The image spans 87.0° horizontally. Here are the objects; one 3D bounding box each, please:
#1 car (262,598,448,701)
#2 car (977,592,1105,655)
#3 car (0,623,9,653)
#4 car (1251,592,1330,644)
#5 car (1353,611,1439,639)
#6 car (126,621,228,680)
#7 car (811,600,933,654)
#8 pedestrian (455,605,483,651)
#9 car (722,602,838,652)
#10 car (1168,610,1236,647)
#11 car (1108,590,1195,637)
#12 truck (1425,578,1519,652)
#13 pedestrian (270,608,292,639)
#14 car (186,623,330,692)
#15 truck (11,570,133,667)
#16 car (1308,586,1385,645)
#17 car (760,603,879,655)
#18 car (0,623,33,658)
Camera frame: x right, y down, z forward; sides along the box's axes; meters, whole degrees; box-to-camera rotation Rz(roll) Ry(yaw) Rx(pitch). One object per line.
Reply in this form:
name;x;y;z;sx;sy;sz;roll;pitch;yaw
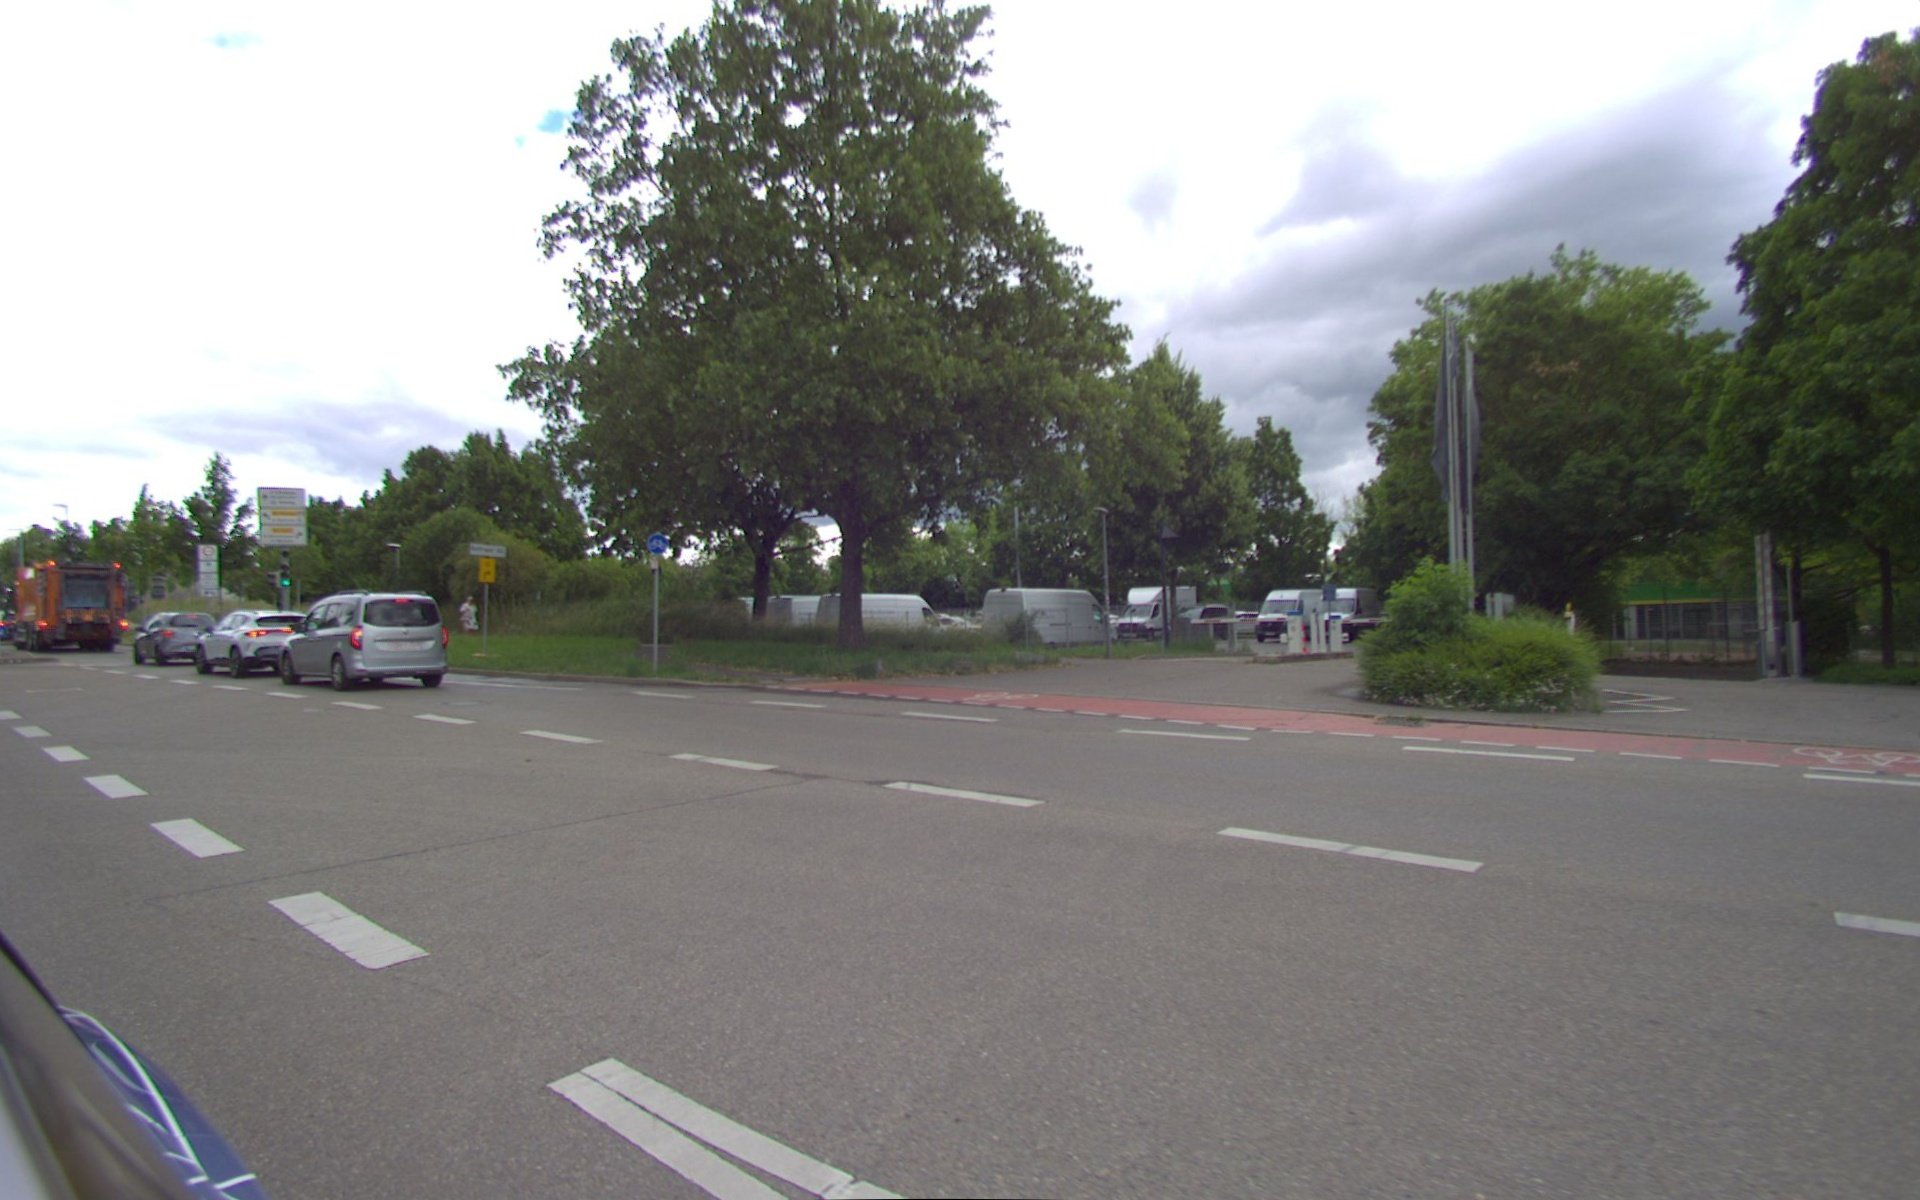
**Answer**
car;-12.007;0.911;19.965;4.403;1.783;1.810;-1;0;40
car;2.945;0.836;35.593;2.009;2.029;5.235;0;-2;37
car;-53.097;2.087;55.191;3.583;1.630;1.570;-2;-1;42
car;17.092;0.835;52.110;1.995;2.431;6.881;-1;1;35
car;23.839;1.367;55.378;3.992;1.421;1.976;0;1;36
car;-22.458;1.419;29.008;3.348;1.574;1.619;-2;-1;39
car;-3.440;1.093;40.483;1.737;2.029;5.233;0;-2;38
pedestrian;-18.937;1.070;39.043;0.636;1.750;0.750;-1;1;30
car;-7.789;1.174;44.268;1.737;2.029;5.235;0;-2;37
car;13.232;1.499;55.131;1.995;1.820;4.888;-1;1;35
car;10.962;0.726;57.534;1.997;2.431;6.875;-1;1;37
truck;22.585;0.552;44.478;2.704;2.992;6.719;-1;1;35
pedestrian;-33.495;1.148;49.935;0.638;1.458;0.748;-1;1;38
car;-16.601;1.305;23.866;4.118;1.498;1.711;-2;-2;39
truck;-35.164;0.721;39.956;7.822;3.507;2.794;-1;-1;42
car;19.398;0.677;50.589;1.995;2.706;6.881;-1;1;35
car;-5.816;1.222;42.569;1.737;2.029;5.235;0;-2;37
car;-46.764;1.970;49.669;3.350;1.630;1.570;-2;-1;42
